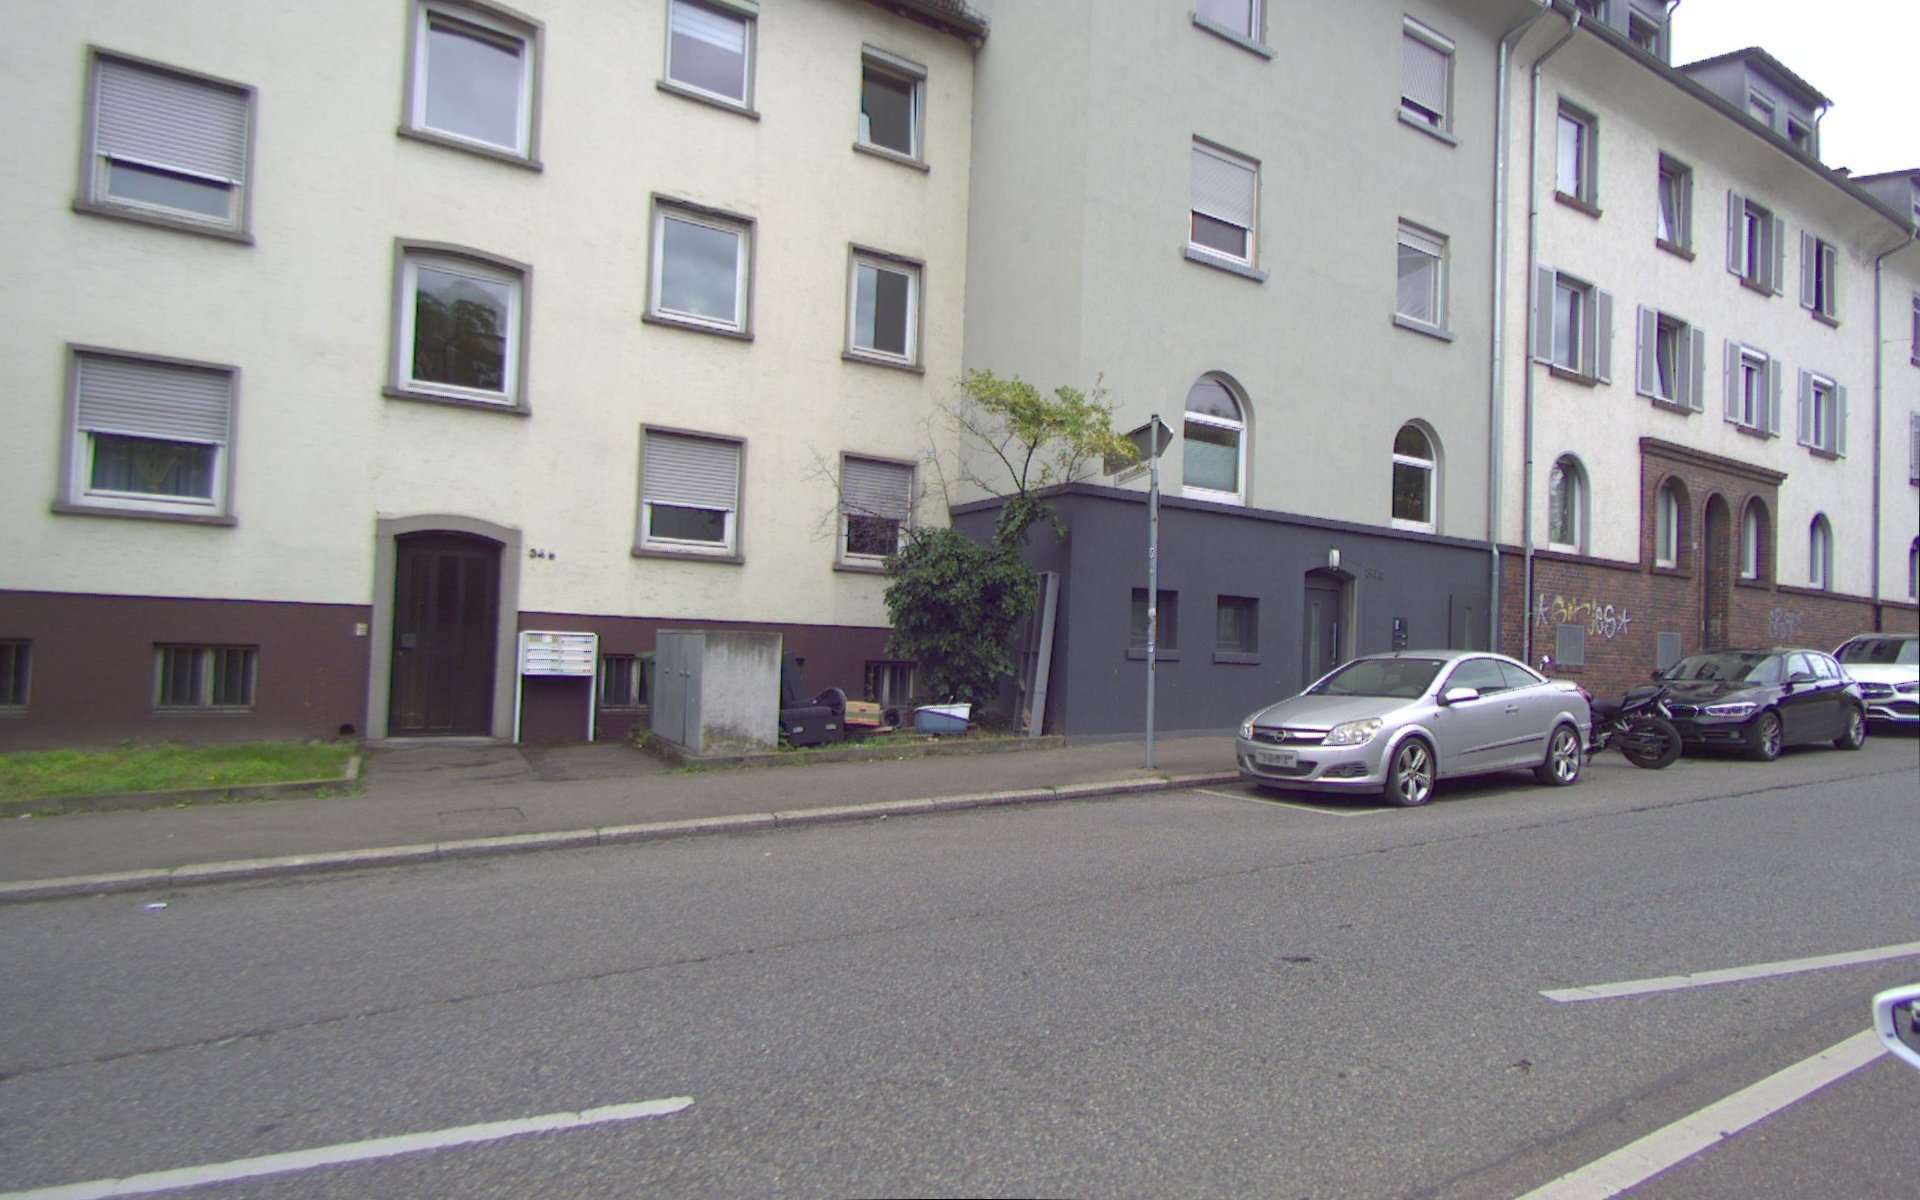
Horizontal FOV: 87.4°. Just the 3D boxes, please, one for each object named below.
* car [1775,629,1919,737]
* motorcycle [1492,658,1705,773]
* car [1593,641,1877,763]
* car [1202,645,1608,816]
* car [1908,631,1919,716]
[{"bbox_3d":[16.105,1.326,17.258,4.590,1.642,1.836,1,-2,-31],"label":"car"},{"bbox_3d":[7.640,1.350,12.093,2.018,1.251,0.803,-4,-4,43],"label":"motorcycle"},{"bbox_3d":[10.812,1.306,13.956,4.143,1.448,1.719,1,-2,-31],"label":"car"},{"bbox_3d":[4.669,1.188,10.361,4.288,1.392,1.718,1,-2,-32],"label":"car"},{"bbox_3d":[20.599,1.418,19.611,4.445,1.620,1.720,1,-2,-28],"label":"car"}]
